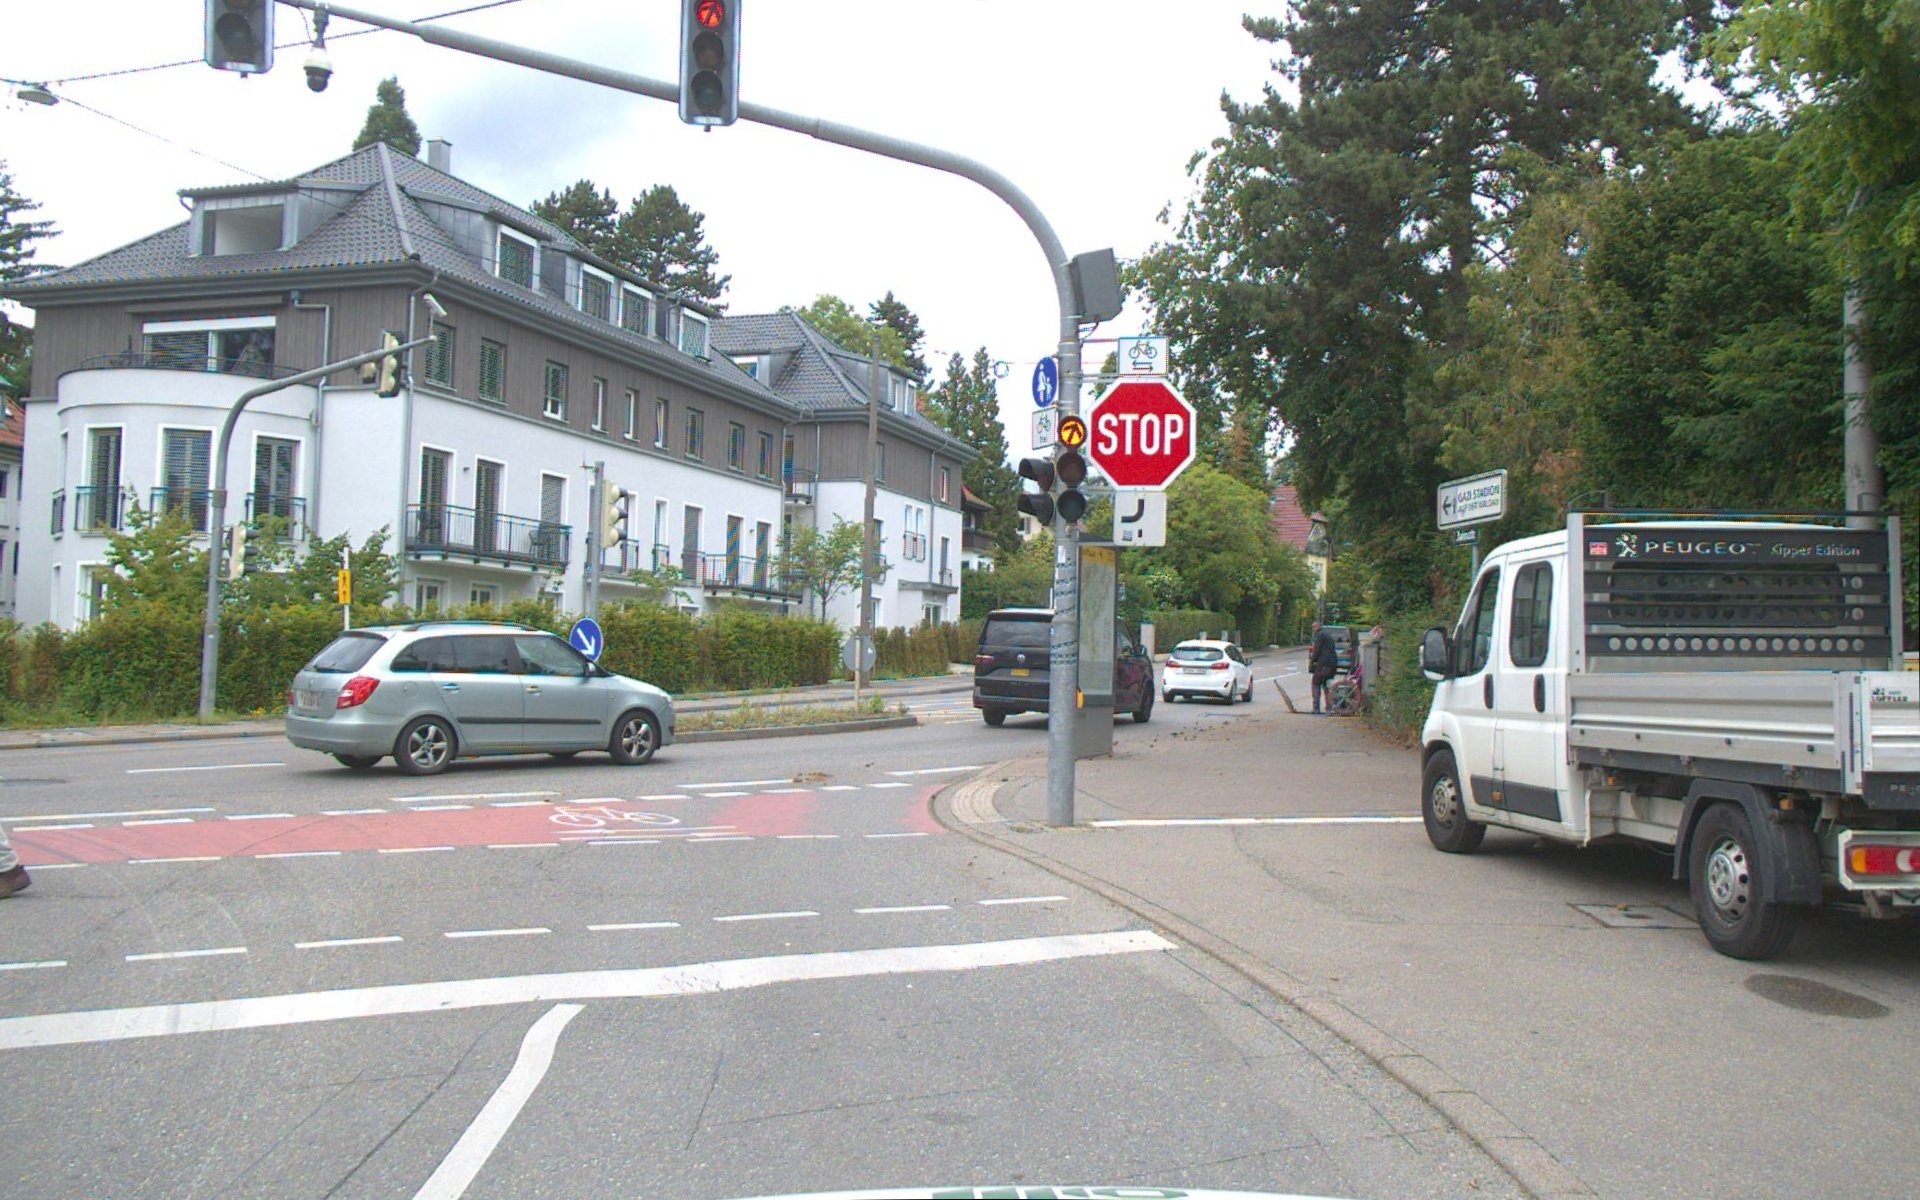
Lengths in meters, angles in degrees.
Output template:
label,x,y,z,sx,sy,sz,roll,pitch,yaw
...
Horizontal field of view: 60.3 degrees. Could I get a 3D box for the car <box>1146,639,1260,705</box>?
label,x,y,z,sx,sy,sz,roll,pitch,yaw
car,5.878,1.678,39.628,1.891,1.407,4.000,1,0,20

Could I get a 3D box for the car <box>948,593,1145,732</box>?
label,x,y,z,sx,sy,sz,roll,pitch,yaw
car,1.587,0.970,28.318,1.953,2.048,4.782,4,1,20

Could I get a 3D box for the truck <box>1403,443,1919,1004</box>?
label,x,y,z,sx,sy,sz,roll,pitch,yaw
truck,4.559,0.600,9.606,2.140,2.233,5.878,2,-2,-3

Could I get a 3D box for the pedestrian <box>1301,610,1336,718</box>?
label,x,y,z,sx,sy,sz,roll,pitch,yaw
pedestrian,6.958,1.231,32.131,0.575,2.049,0.841,1,0,7

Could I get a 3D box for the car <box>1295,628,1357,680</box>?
label,x,y,z,sx,sy,sz,roll,pitch,yaw
car,15.402,2.301,69.792,1.951,2.049,4.511,1,-2,5

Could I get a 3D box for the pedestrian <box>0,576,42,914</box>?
label,x,y,z,sx,sy,sz,roll,pitch,yaw
pedestrian,-5.211,0.734,8.591,0.692,1.711,0.678,1,1,-35

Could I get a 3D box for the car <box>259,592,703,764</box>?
label,x,y,z,sx,sy,sz,roll,pitch,yaw
car,-4.912,0.774,17.386,1.684,1.501,4.166,5,2,44
